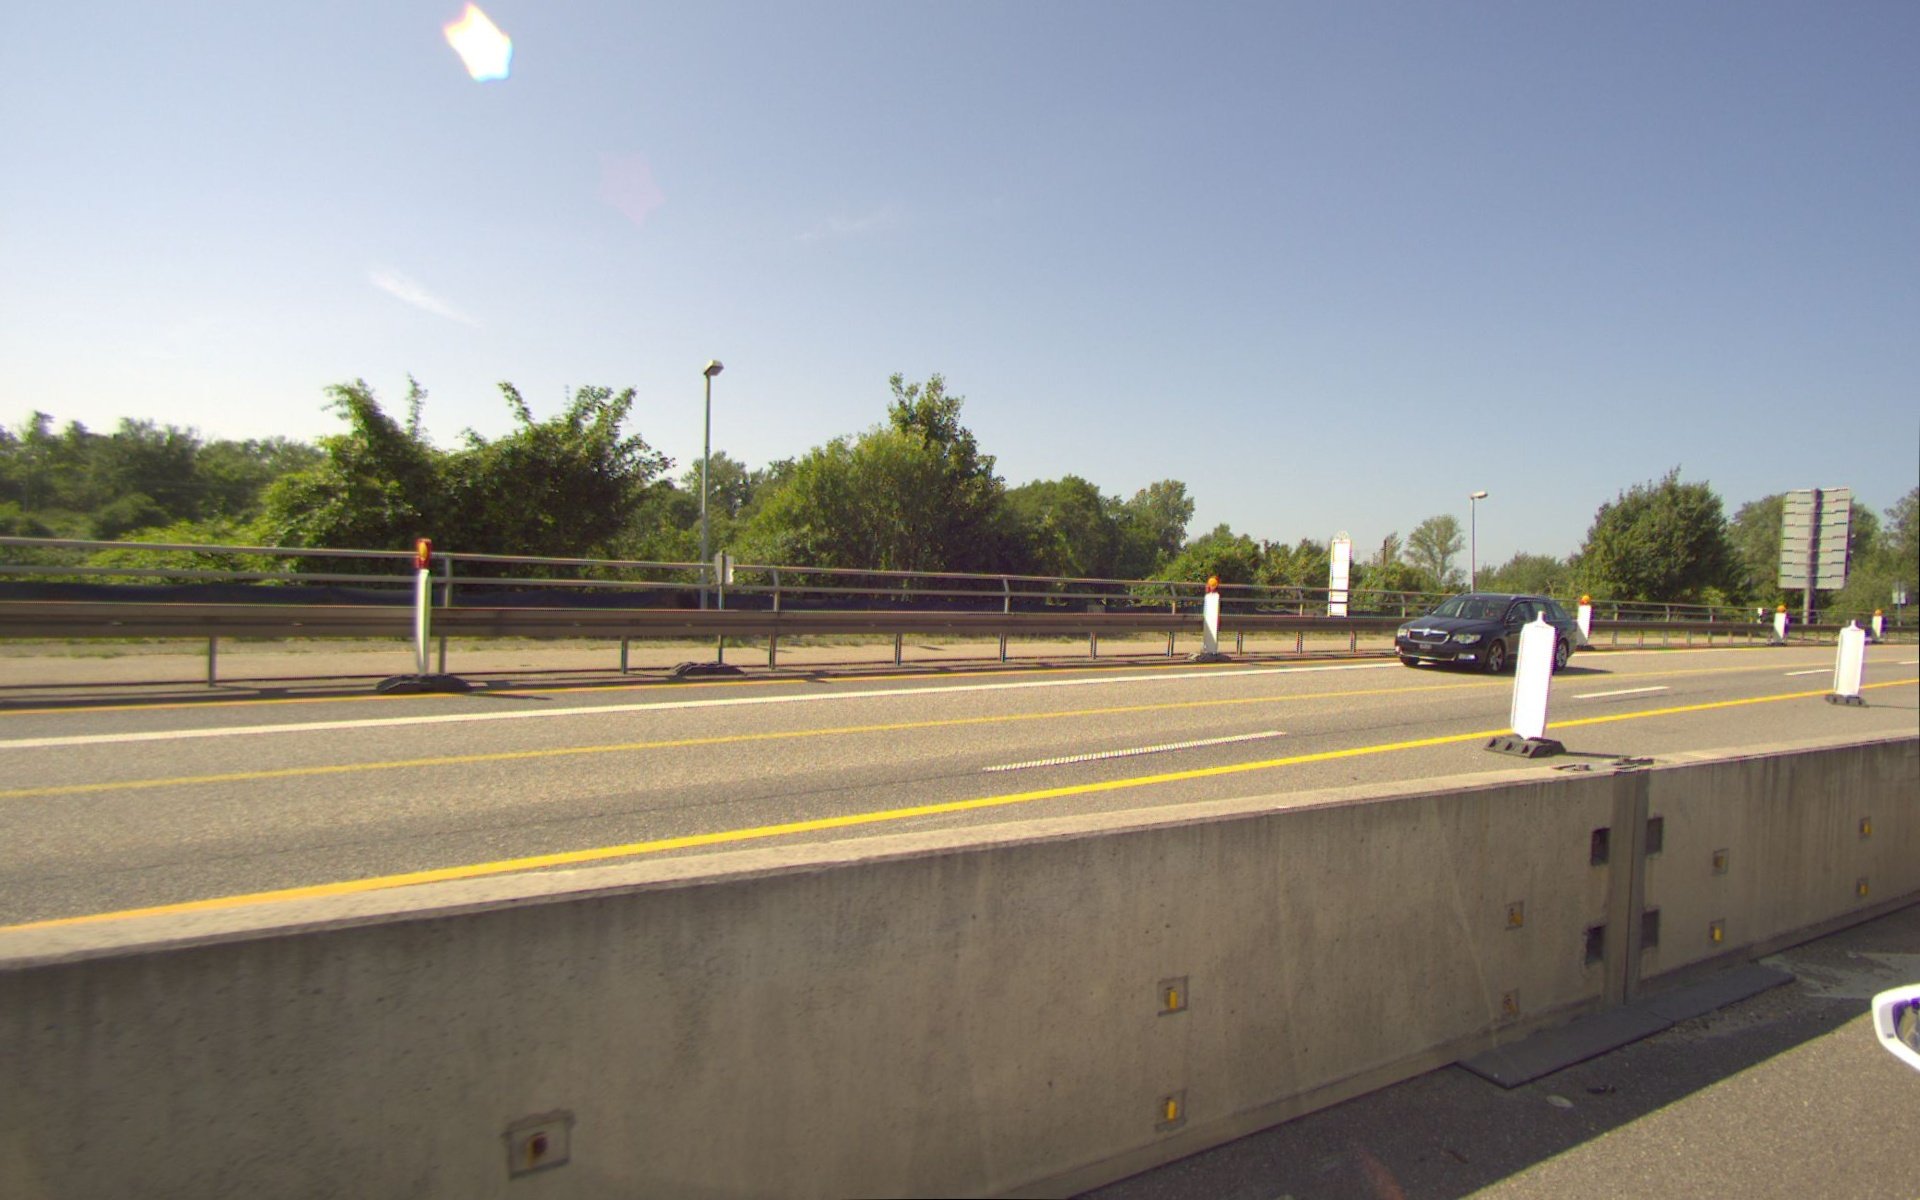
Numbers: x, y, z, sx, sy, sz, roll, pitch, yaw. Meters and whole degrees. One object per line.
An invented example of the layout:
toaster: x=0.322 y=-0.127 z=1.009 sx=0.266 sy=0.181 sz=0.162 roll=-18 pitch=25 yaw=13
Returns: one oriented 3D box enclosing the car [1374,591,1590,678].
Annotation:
car: x=10.265 y=0.635 z=19.598 sx=4.948 sy=1.461 sz=1.655 roll=1 pitch=2 yaw=-36
